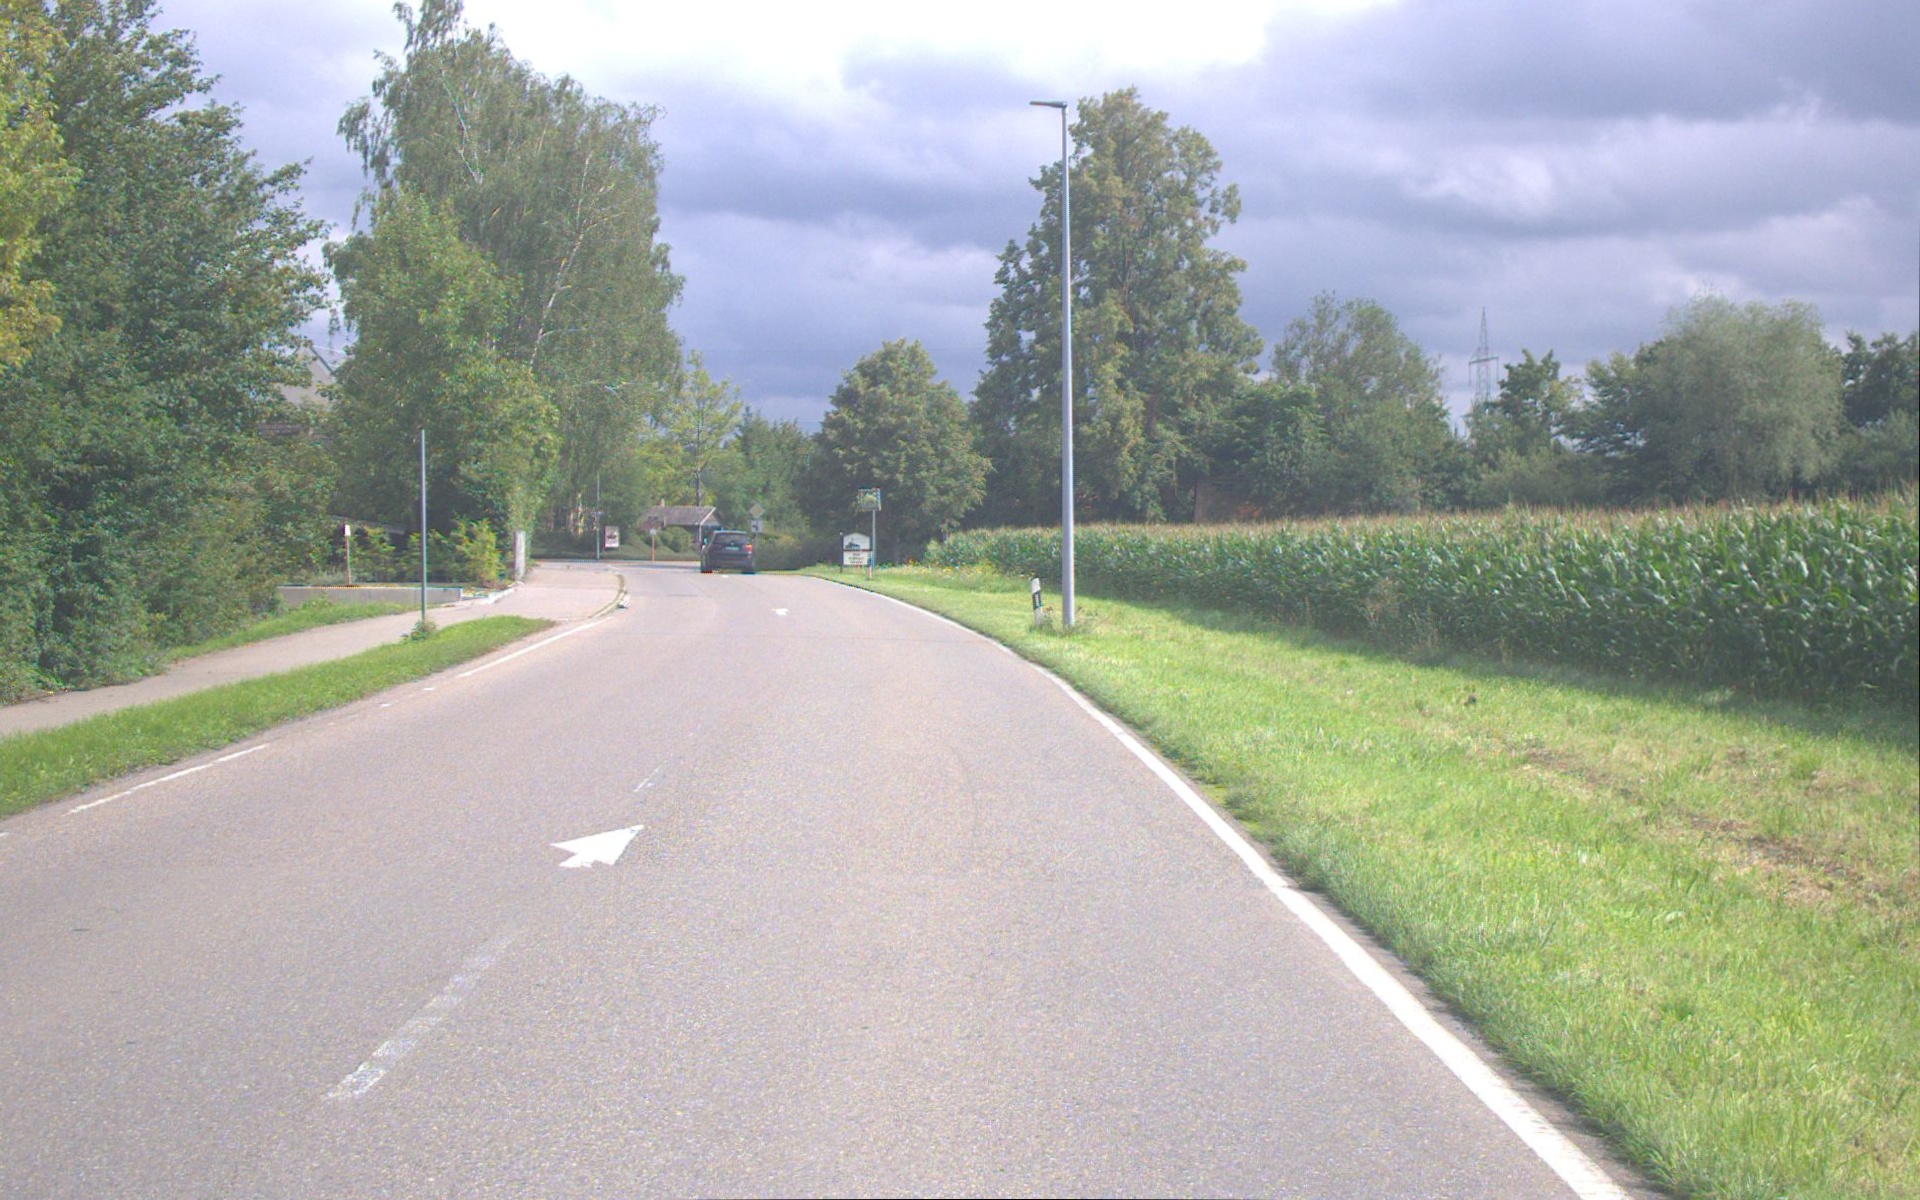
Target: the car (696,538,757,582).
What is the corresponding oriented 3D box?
[{"bbox_3d":[-8.914,-1.543,131.094,1.993,1.579,4.001,2,0,-8],"label":"car"}]
